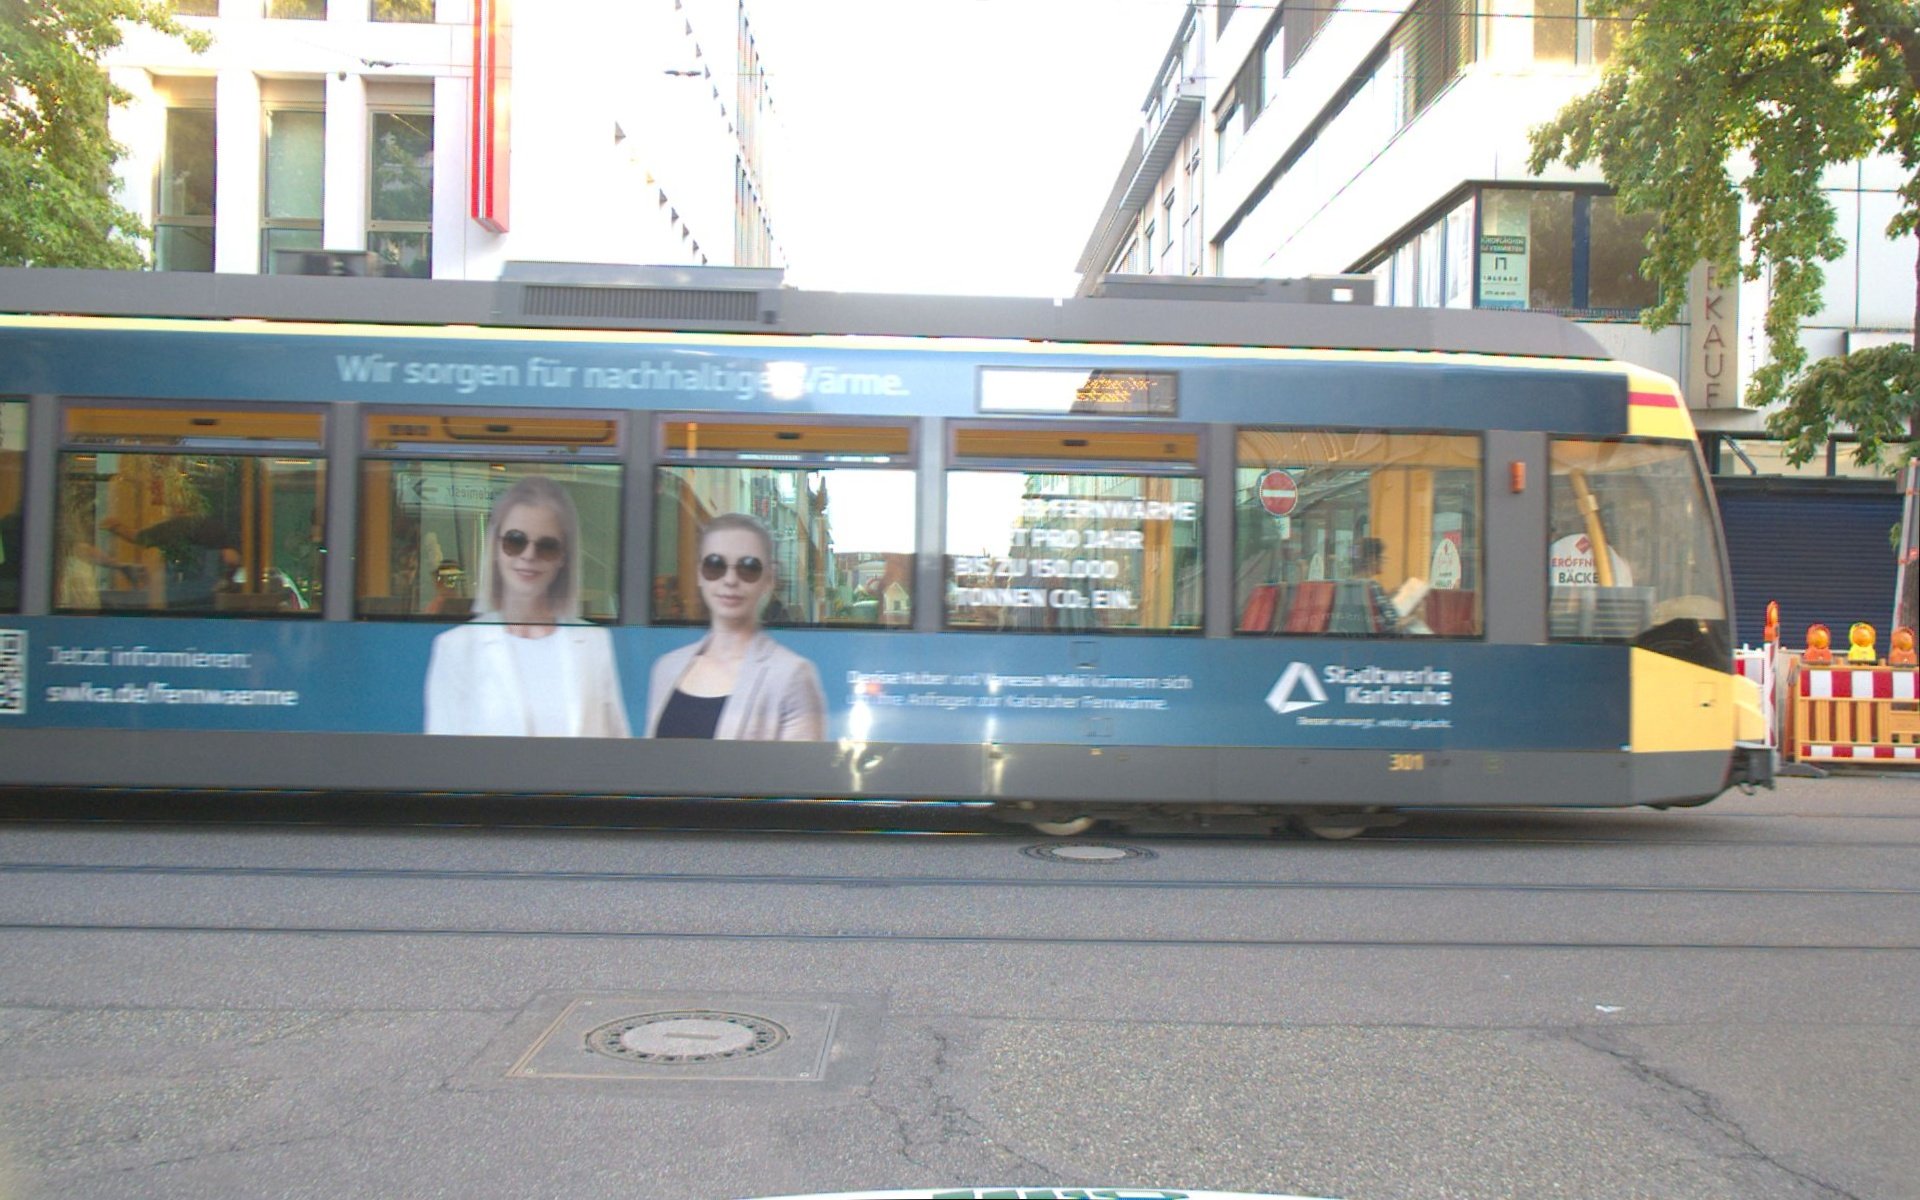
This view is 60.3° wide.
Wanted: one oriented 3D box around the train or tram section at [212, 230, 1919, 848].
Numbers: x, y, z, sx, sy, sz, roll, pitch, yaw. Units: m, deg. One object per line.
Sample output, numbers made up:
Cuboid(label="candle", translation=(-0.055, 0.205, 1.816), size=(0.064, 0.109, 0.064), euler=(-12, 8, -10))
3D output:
Cuboid(label="train or tram section", translation=(0.695, -0.334, 11.285), size=(10.127, 3.585, 3.025), euler=(0, 0, -2))

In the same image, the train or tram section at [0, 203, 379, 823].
Cuboid(label="train or tram section", translation=(-9.490, -0.530, 10.934), size=(10.158, 3.585, 3.016), euler=(0, -1, -2))
